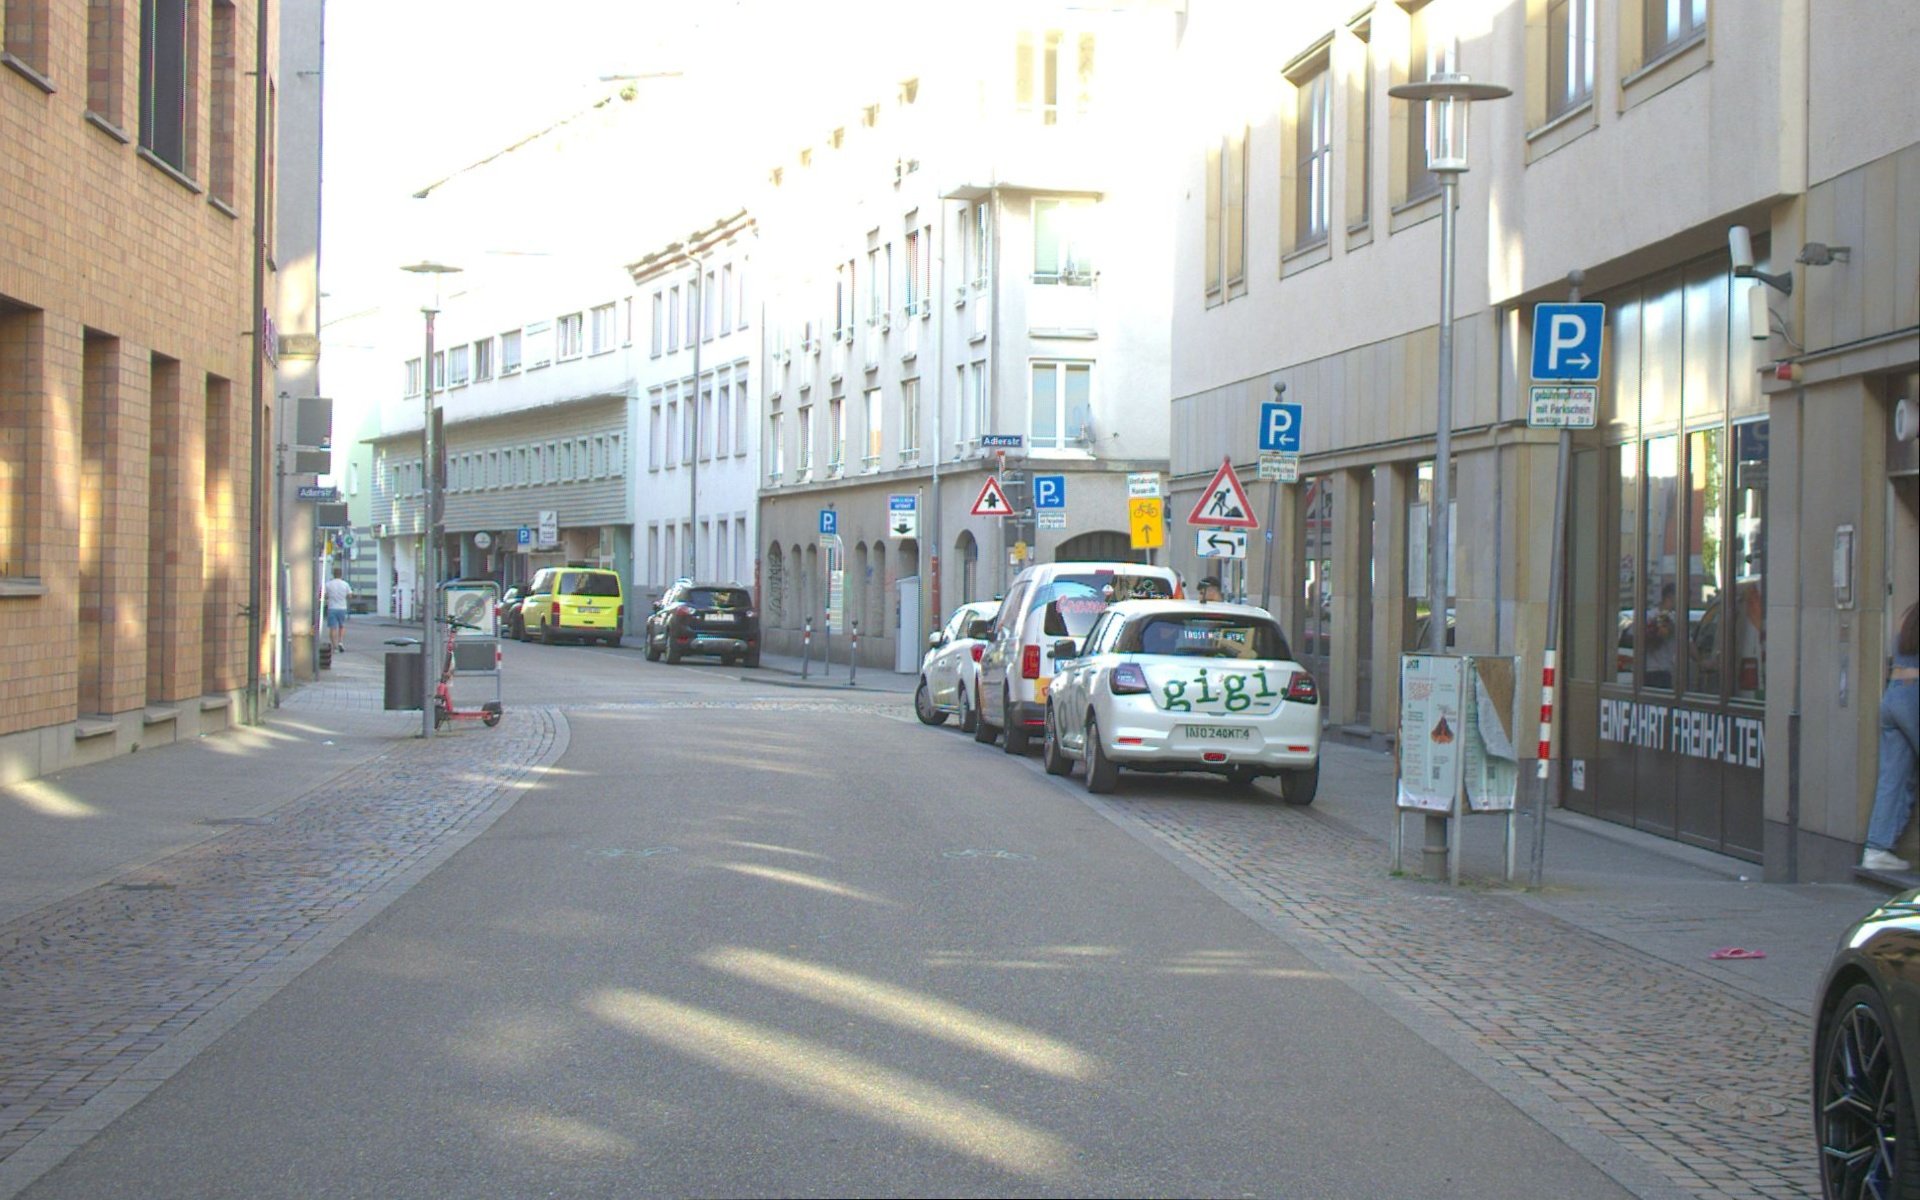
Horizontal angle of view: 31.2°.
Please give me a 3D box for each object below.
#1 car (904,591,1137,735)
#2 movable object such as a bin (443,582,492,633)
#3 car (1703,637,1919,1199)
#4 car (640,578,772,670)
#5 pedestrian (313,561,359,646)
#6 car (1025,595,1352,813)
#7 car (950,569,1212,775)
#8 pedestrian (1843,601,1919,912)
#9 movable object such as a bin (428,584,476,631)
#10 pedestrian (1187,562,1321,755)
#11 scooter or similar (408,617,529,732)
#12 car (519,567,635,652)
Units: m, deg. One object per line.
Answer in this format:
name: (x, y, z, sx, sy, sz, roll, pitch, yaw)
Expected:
car: (0.637, 0.687, 39.518, 1.888, 1.513, 4.064, 2, 0, -10)
movable object such as a bin: (-15.610, 0.229, 108.983, 1.131, 1.553, 1.740, 1, 0, -21)
car: (2.942, 0.870, 6.222, 1.894, 1.448, 5.226, 3, 0, -1)
car: (-5.140, 0.460, 69.139, 1.967, 1.686, 4.102, 3, 0, -13)
pedestrian: (-12.665, 0.070, 69.772, 0.765, 1.719, 0.687, 1, 0, -19)
car: (1.717, 0.765, 27.305, 1.840, 1.473, 4.169, 3, 0, -6)
car: (1.087, 0.649, 33.582, 1.830, 1.785, 5.215, 2, 0, -5)
pedestrian: (5.039, 0.834, 18.558, 0.481, 1.649, 0.538, 0, 0, 11)
movable object such as a bin: (-16.356, 0.233, 110.626, 1.131, 1.474, 1.740, 1, 0, -21)
pedestrian: (2.812, 0.559, 32.984, 1.042, 1.795, 1.199, 1, -1, -5)
scooter or similar: (-5.327, 0.796, 37.301, 0.698, 1.213, 1.355, 1, 0, 22)
car: (-9.526, 0.204, 85.203, 2.052, 2.007, 4.176, 1, 0, -18)
